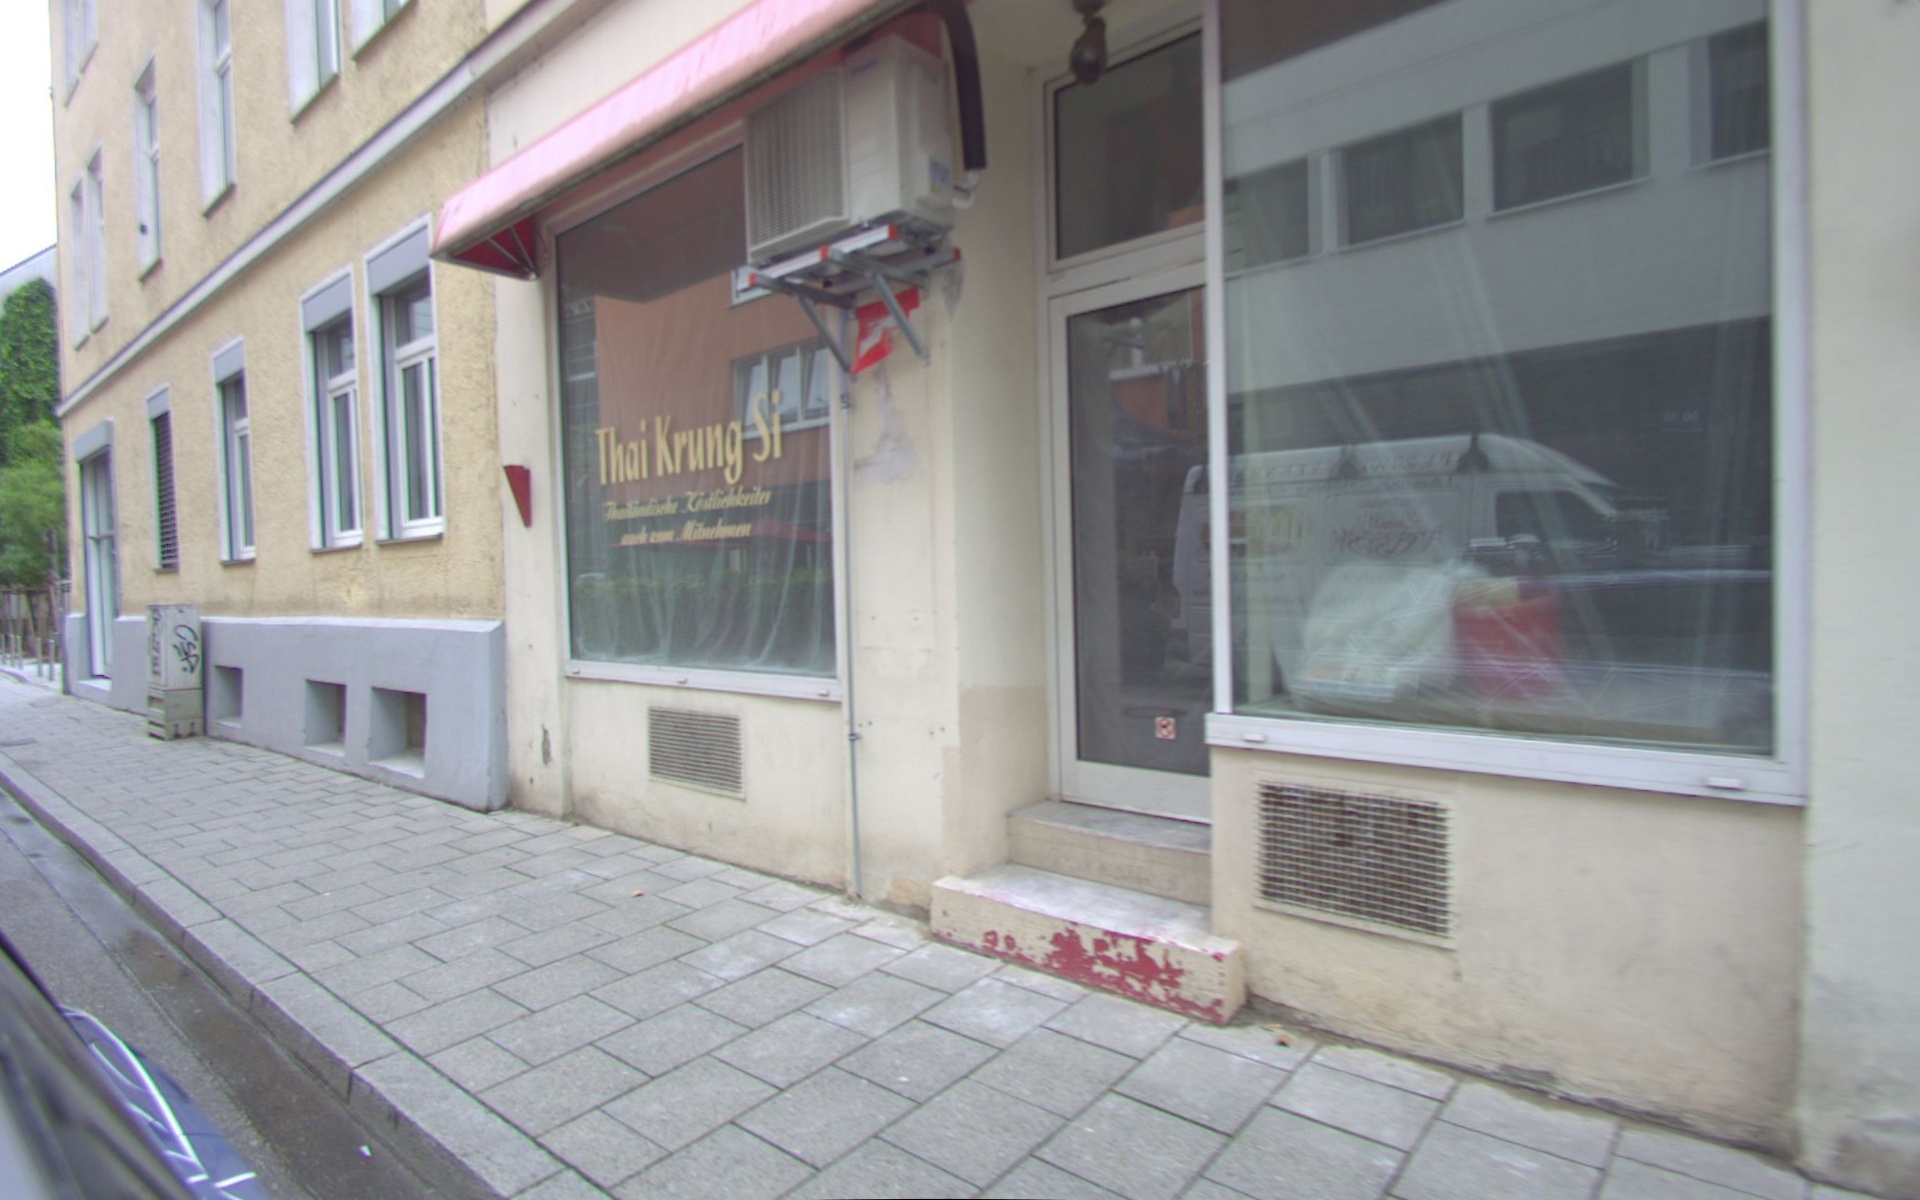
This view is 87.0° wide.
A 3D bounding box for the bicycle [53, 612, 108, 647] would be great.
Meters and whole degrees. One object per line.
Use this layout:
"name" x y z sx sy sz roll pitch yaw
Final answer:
"bicycle" -32.549 1.088 37.448 1.986 1.217 0.708 -1 3 24
